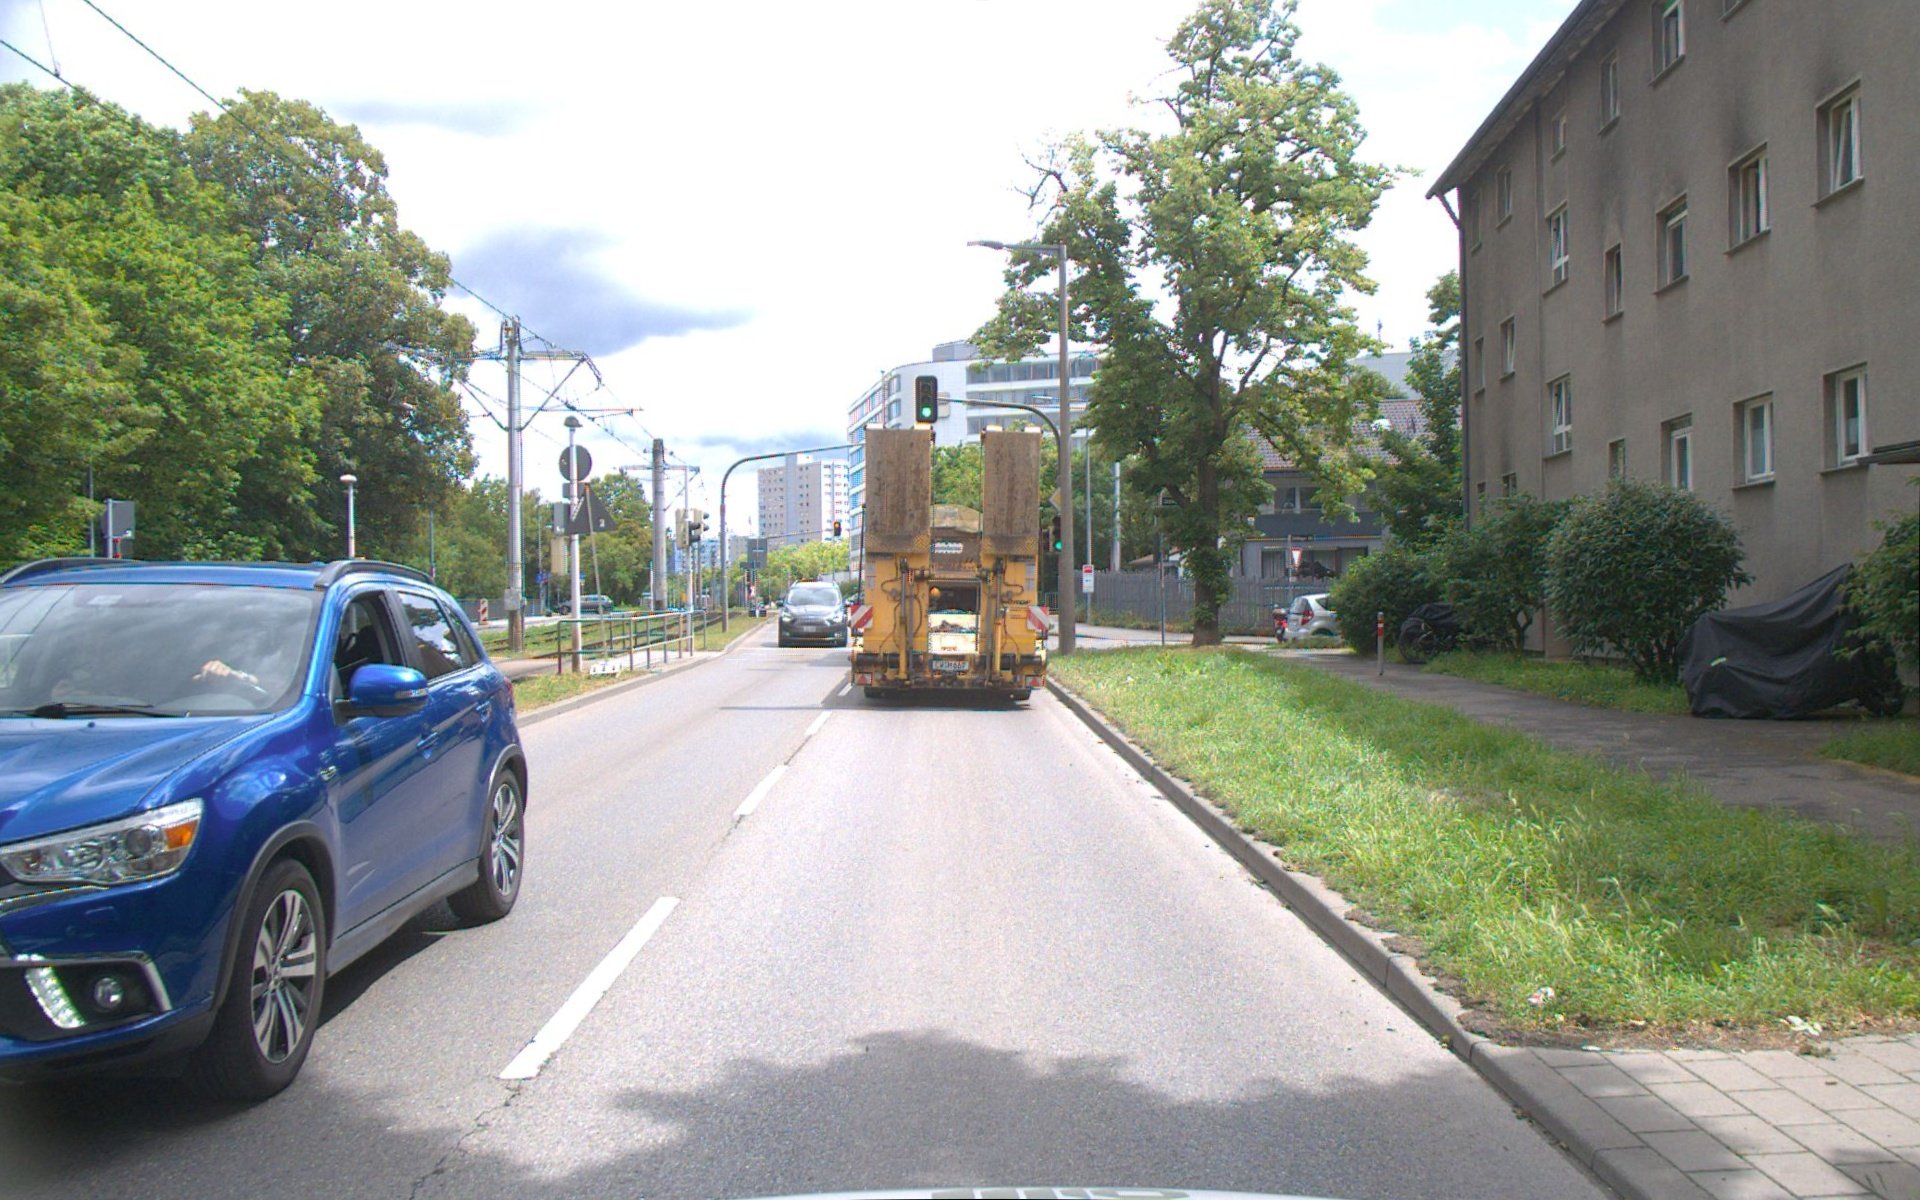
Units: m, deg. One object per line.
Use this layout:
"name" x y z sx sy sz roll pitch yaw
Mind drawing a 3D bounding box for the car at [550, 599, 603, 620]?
"car" -29.993 0.771 129.555 3.915 1.579 1.995 1 0 -11

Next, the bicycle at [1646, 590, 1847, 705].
"bicycle" 7.853 0.469 16.548 1.760 1.103 0.455 -1 0 4

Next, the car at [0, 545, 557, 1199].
"car" -2.787 0.623 6.061 1.678 1.594 4.165 1 1 -2

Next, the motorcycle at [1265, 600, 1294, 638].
"motorcycle" 10.168 0.607 52.599 0.645 1.169 2.426 1 0 17

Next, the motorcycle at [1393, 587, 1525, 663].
"motorcycle" 8.871 0.439 29.460 2.157 1.305 0.681 -1 -1 7

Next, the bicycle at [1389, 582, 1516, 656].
"bicycle" 8.962 0.352 30.170 2.121 1.305 0.681 -1 -1 7

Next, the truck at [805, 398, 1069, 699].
"truck" -0.530 -0.621 26.787 3.249 3.715 12.555 0 0 -2

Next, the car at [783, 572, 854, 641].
"car" -3.697 0.153 43.715 1.673 1.705 4.226 1 0 -3

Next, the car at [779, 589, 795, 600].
"car" -21.814 -0.688 208.277 1.956 1.445 3.993 1 0 -8

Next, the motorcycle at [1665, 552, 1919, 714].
"motorcycle" 7.817 0.298 15.583 1.954 1.454 1.018 -1 0 9

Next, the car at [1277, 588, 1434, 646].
"car" 11.163 0.458 46.827 3.913 1.581 1.935 0 1 -9
